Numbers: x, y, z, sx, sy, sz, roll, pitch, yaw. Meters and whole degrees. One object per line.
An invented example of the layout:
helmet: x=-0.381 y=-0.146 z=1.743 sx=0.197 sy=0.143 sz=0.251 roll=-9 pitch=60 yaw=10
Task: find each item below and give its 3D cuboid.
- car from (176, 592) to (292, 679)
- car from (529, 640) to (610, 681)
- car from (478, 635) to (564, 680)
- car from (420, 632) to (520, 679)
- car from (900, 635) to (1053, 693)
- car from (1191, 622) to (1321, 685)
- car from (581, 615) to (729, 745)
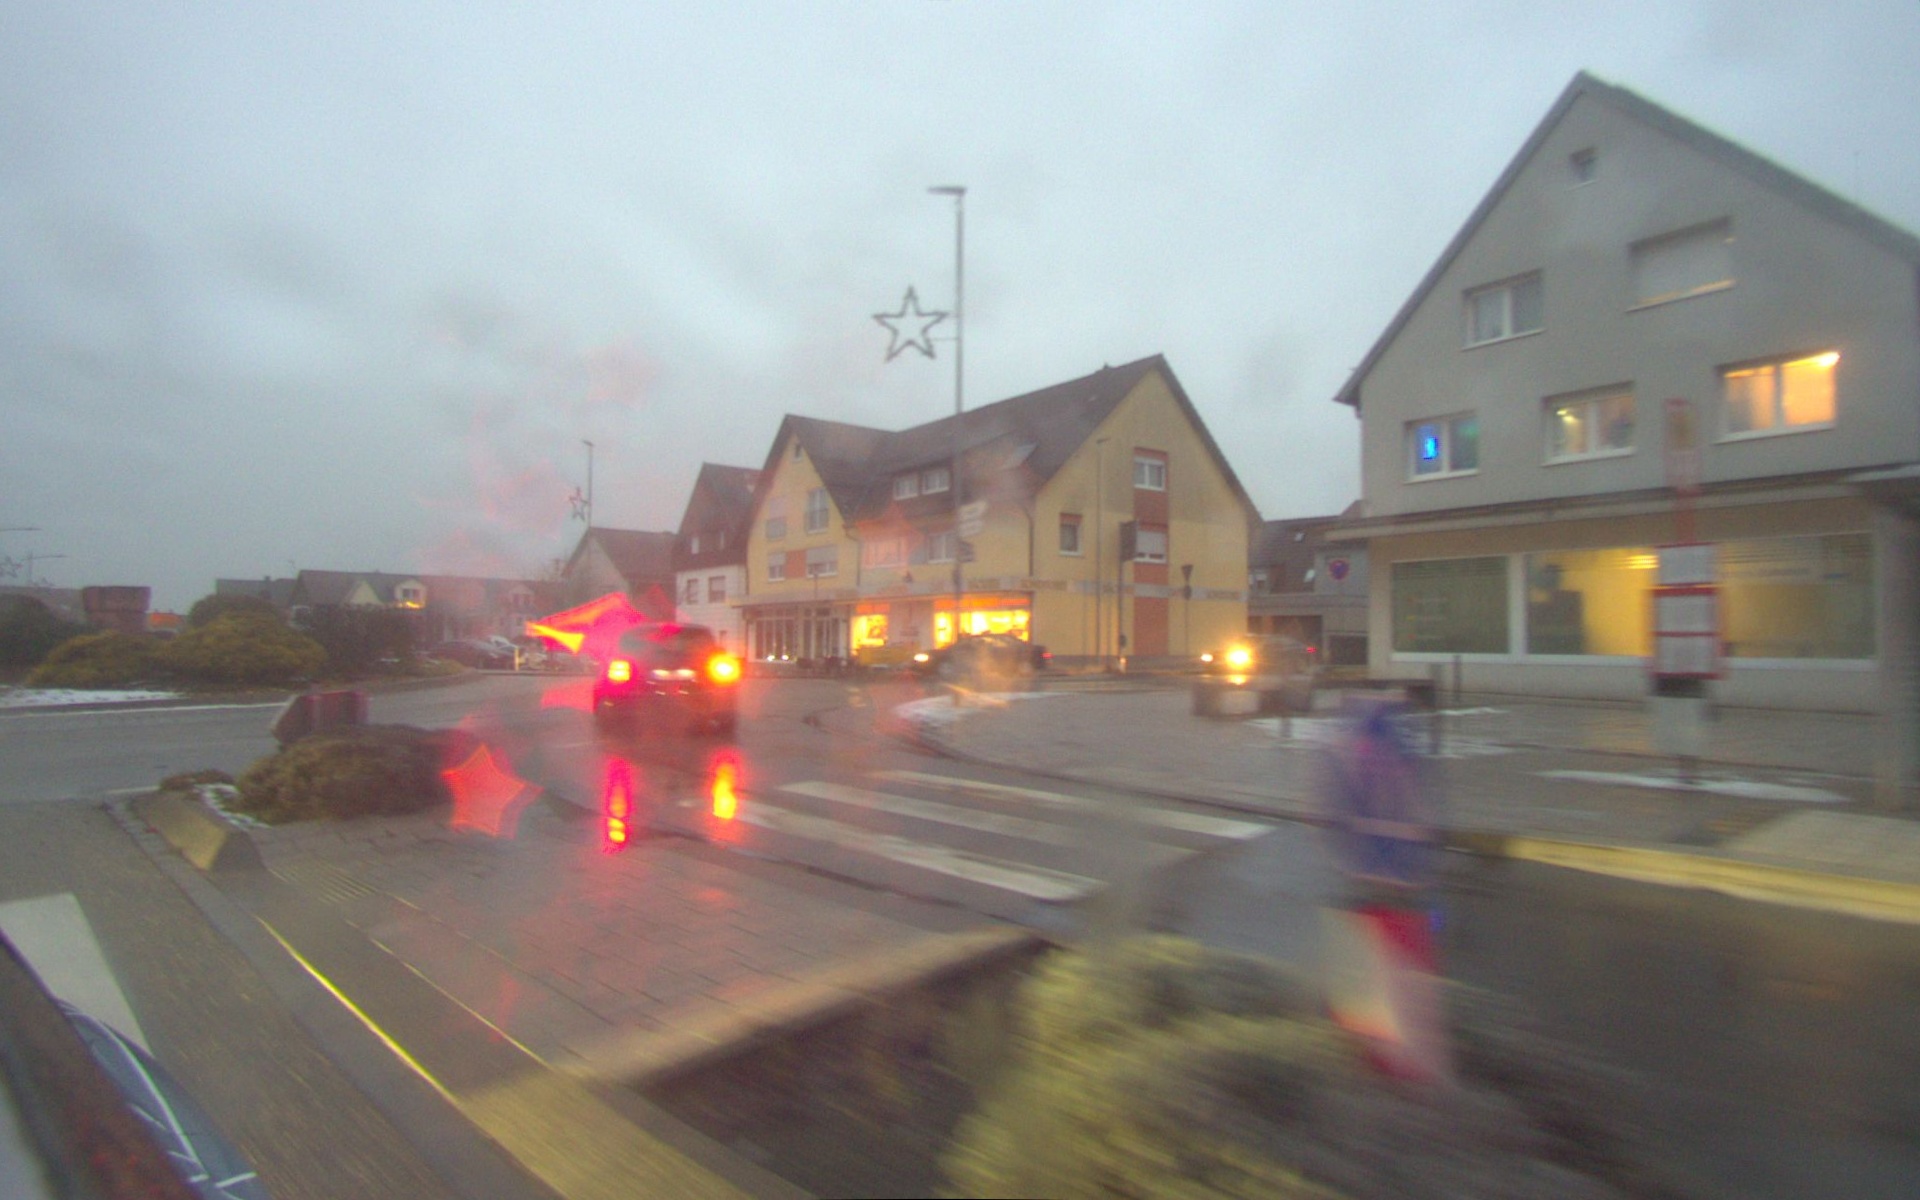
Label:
car: x=-18.271 y=0.813 z=25.665 sx=2.024 sy=2.002 sz=4.551 roll=0 pitch=0 yaw=-31
car: x=-20.298 y=3.110 z=52.559 sx=3.854 sy=1.895 sz=1.917 roll=0 pitch=0 yaw=28
car: x=-21.849 y=2.828 z=50.402 sx=3.954 sy=2.029 sz=1.908 roll=0 pitch=0 yaw=28
car: x=-23.265 y=2.599 z=48.105 sx=3.963 sy=2.010 sz=1.962 roll=0 pitch=0 yaw=15
car: x=0.496 y=1.918 z=31.102 sx=4.299 sy=1.617 sz=1.894 roll=0 pitch=0 yaw=-17
car: x=10.549 y=1.851 z=36.032 sx=4.388 sy=2.029 sz=2.006 roll=0 pitch=0 yaw=-31
car: x=-4.325 y=0.997 z=13.997 sx=1.678 sy=1.515 sz=3.911 roll=0 pitch=-2 yaw=-21
